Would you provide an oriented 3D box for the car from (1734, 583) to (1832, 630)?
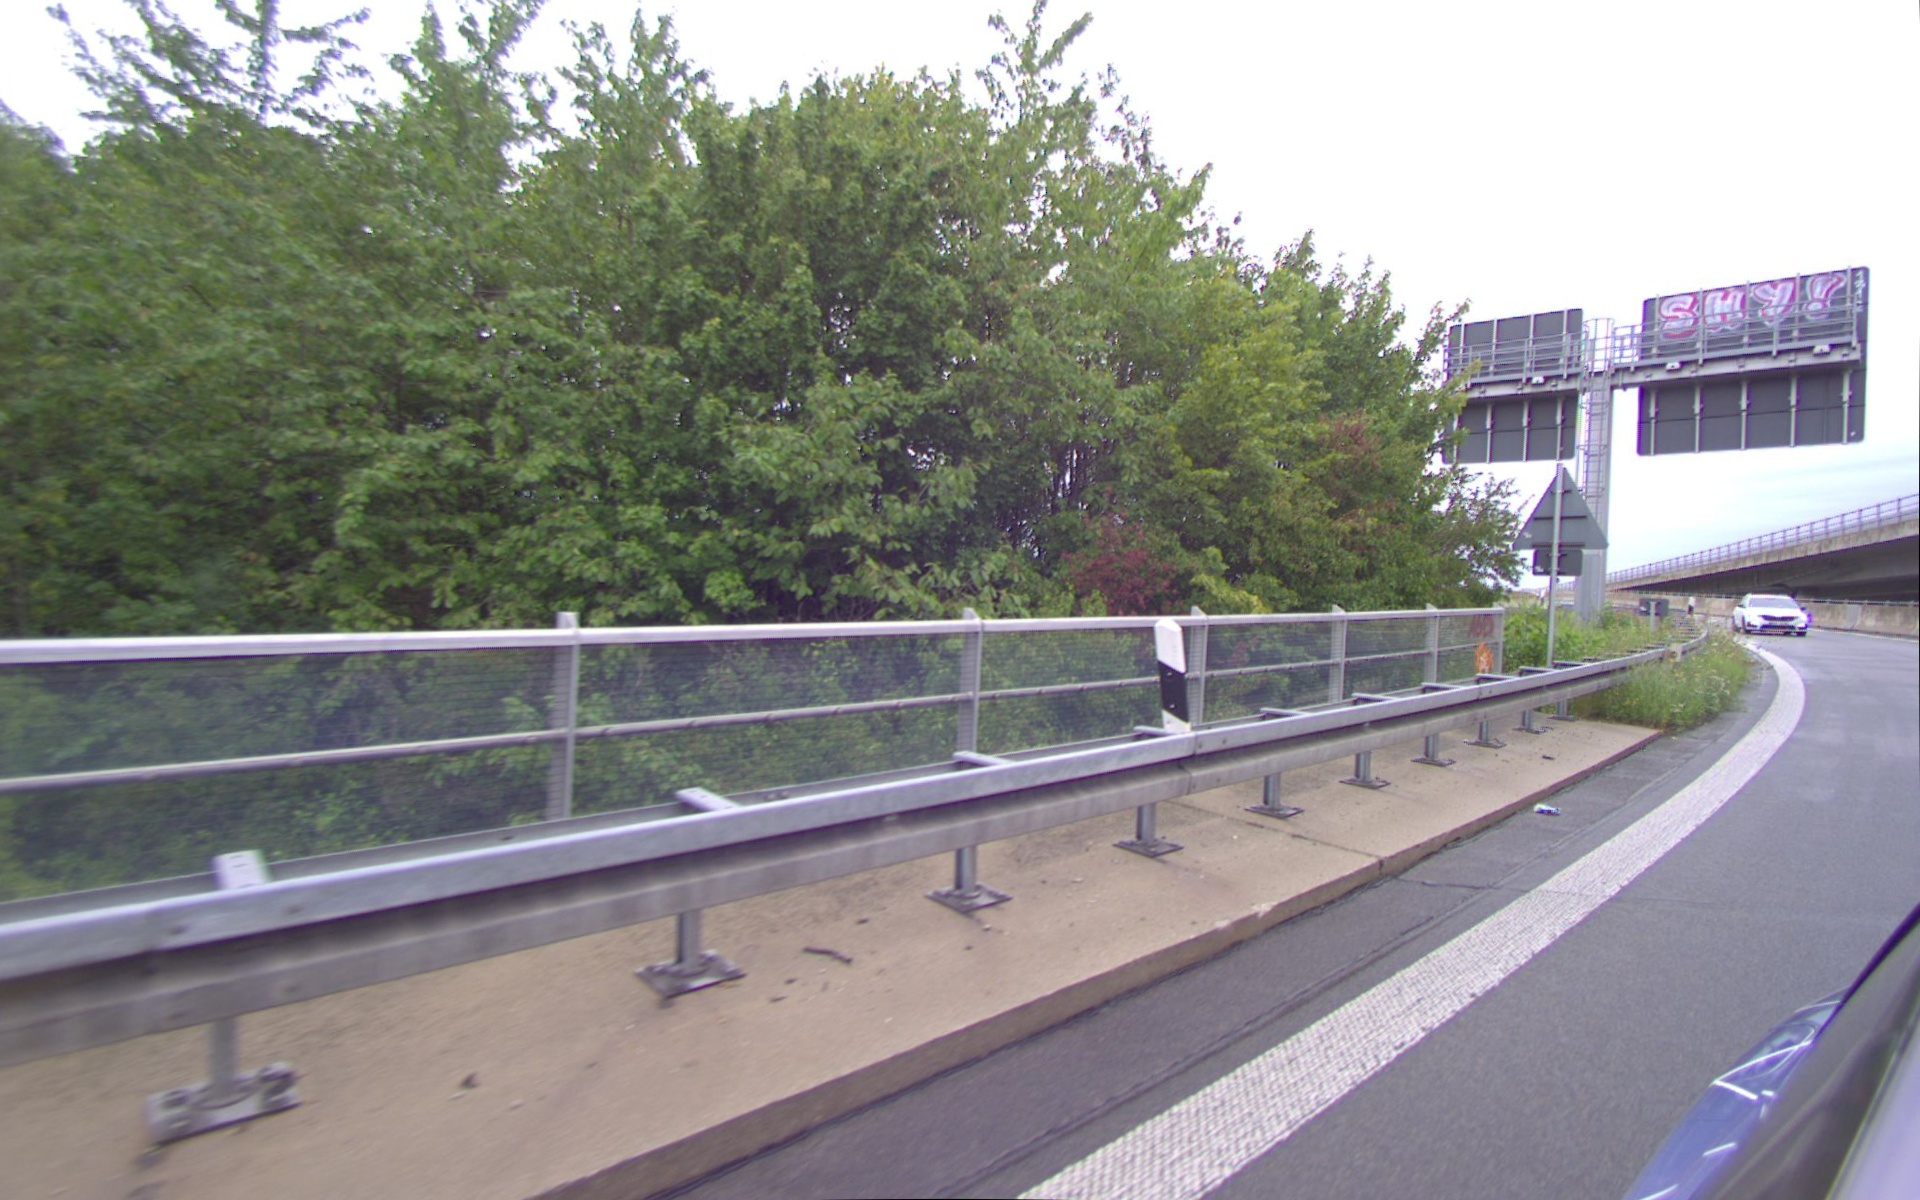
[{"bbox_3d":[29.743,0.192,36.714,1.900,1.465,4.509,4,2,29],"label":"car"}]
